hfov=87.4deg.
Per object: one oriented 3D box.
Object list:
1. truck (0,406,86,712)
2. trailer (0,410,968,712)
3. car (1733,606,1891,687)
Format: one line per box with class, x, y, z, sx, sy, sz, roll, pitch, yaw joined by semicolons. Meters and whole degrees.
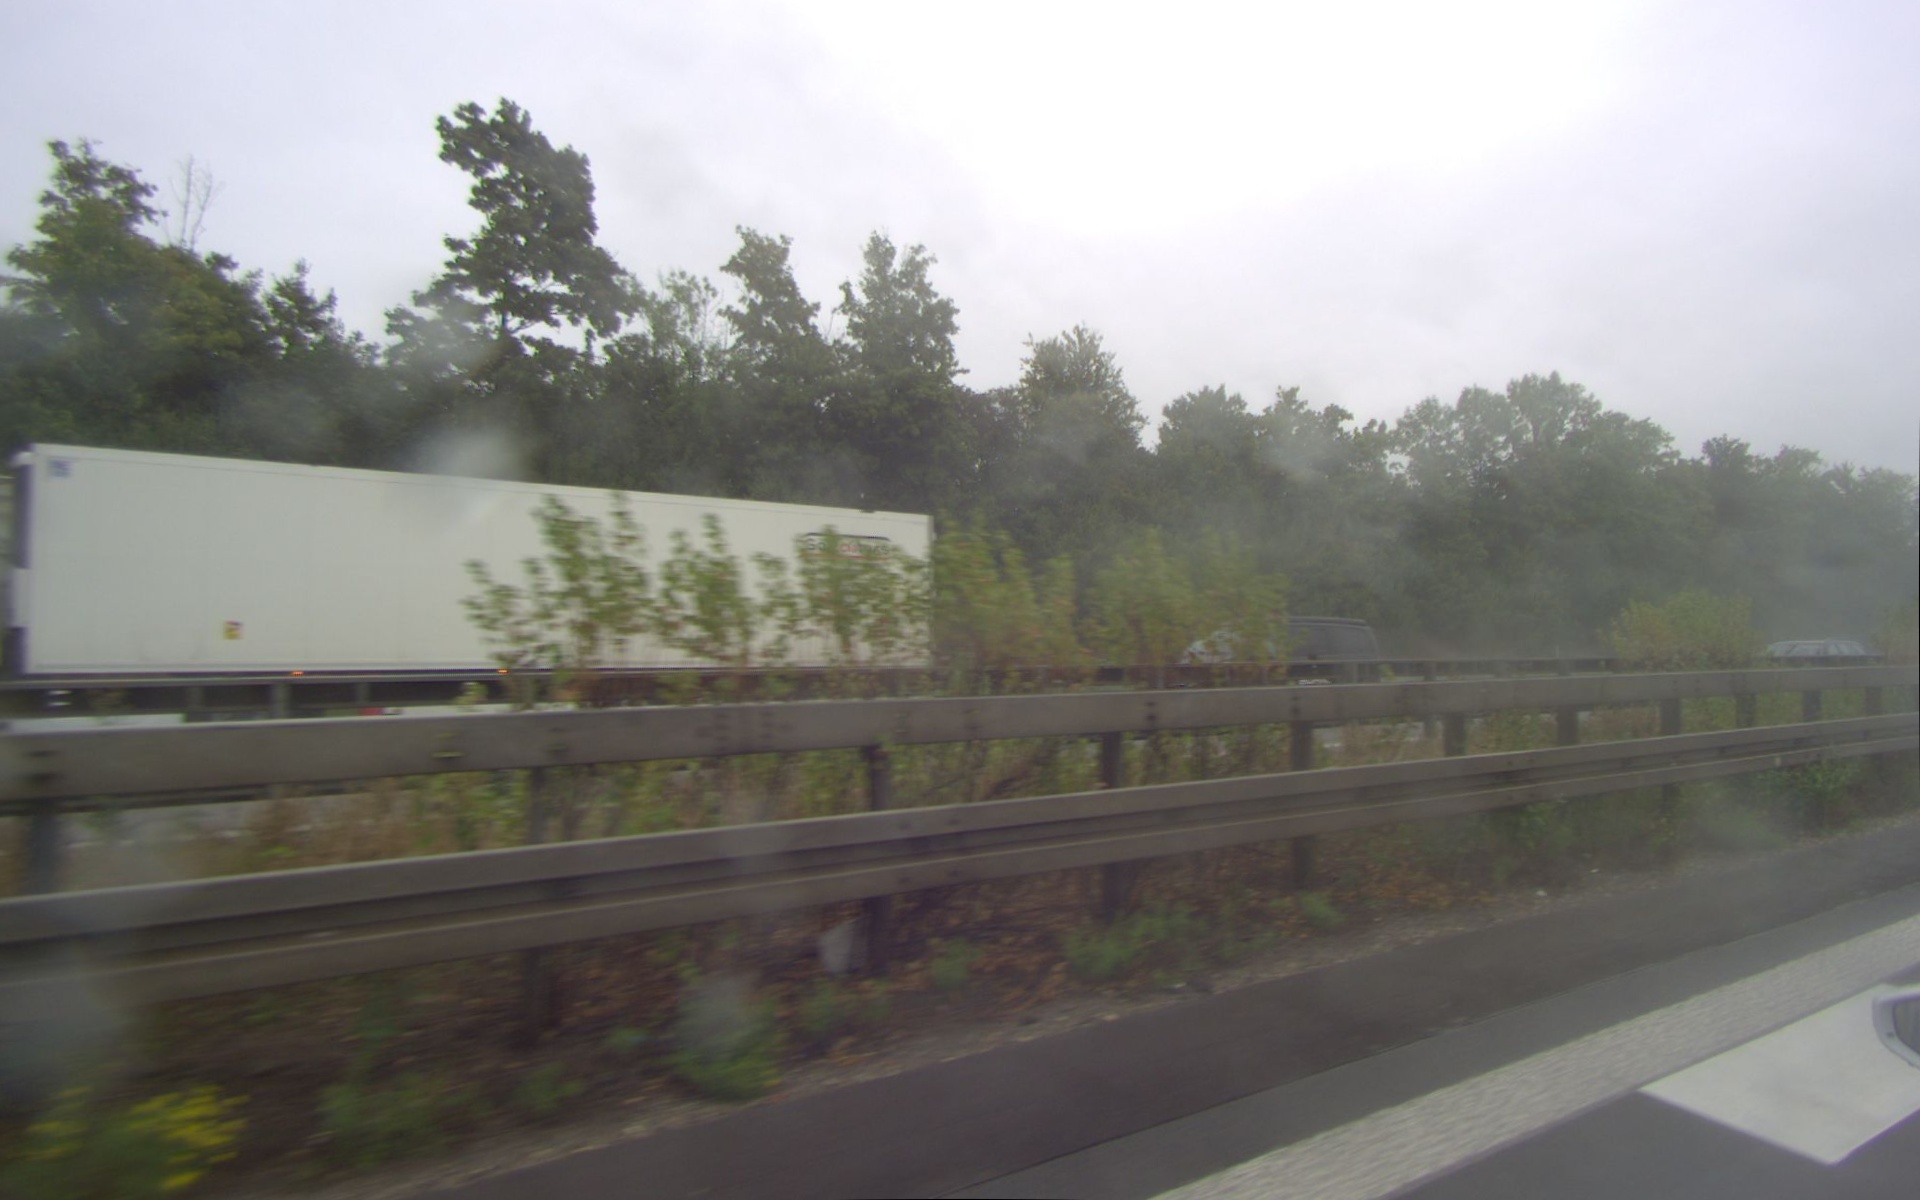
truck;-14.503;-0.592;12.418;5.163;3.854;2.033;2;0;-30
trailer;-7.003;-0.352;16.836;15.342;3.822;1.991;1;0;-30
car;21.751;1.164;25.609;4.263;1.884;1.901;2;-1;-33
